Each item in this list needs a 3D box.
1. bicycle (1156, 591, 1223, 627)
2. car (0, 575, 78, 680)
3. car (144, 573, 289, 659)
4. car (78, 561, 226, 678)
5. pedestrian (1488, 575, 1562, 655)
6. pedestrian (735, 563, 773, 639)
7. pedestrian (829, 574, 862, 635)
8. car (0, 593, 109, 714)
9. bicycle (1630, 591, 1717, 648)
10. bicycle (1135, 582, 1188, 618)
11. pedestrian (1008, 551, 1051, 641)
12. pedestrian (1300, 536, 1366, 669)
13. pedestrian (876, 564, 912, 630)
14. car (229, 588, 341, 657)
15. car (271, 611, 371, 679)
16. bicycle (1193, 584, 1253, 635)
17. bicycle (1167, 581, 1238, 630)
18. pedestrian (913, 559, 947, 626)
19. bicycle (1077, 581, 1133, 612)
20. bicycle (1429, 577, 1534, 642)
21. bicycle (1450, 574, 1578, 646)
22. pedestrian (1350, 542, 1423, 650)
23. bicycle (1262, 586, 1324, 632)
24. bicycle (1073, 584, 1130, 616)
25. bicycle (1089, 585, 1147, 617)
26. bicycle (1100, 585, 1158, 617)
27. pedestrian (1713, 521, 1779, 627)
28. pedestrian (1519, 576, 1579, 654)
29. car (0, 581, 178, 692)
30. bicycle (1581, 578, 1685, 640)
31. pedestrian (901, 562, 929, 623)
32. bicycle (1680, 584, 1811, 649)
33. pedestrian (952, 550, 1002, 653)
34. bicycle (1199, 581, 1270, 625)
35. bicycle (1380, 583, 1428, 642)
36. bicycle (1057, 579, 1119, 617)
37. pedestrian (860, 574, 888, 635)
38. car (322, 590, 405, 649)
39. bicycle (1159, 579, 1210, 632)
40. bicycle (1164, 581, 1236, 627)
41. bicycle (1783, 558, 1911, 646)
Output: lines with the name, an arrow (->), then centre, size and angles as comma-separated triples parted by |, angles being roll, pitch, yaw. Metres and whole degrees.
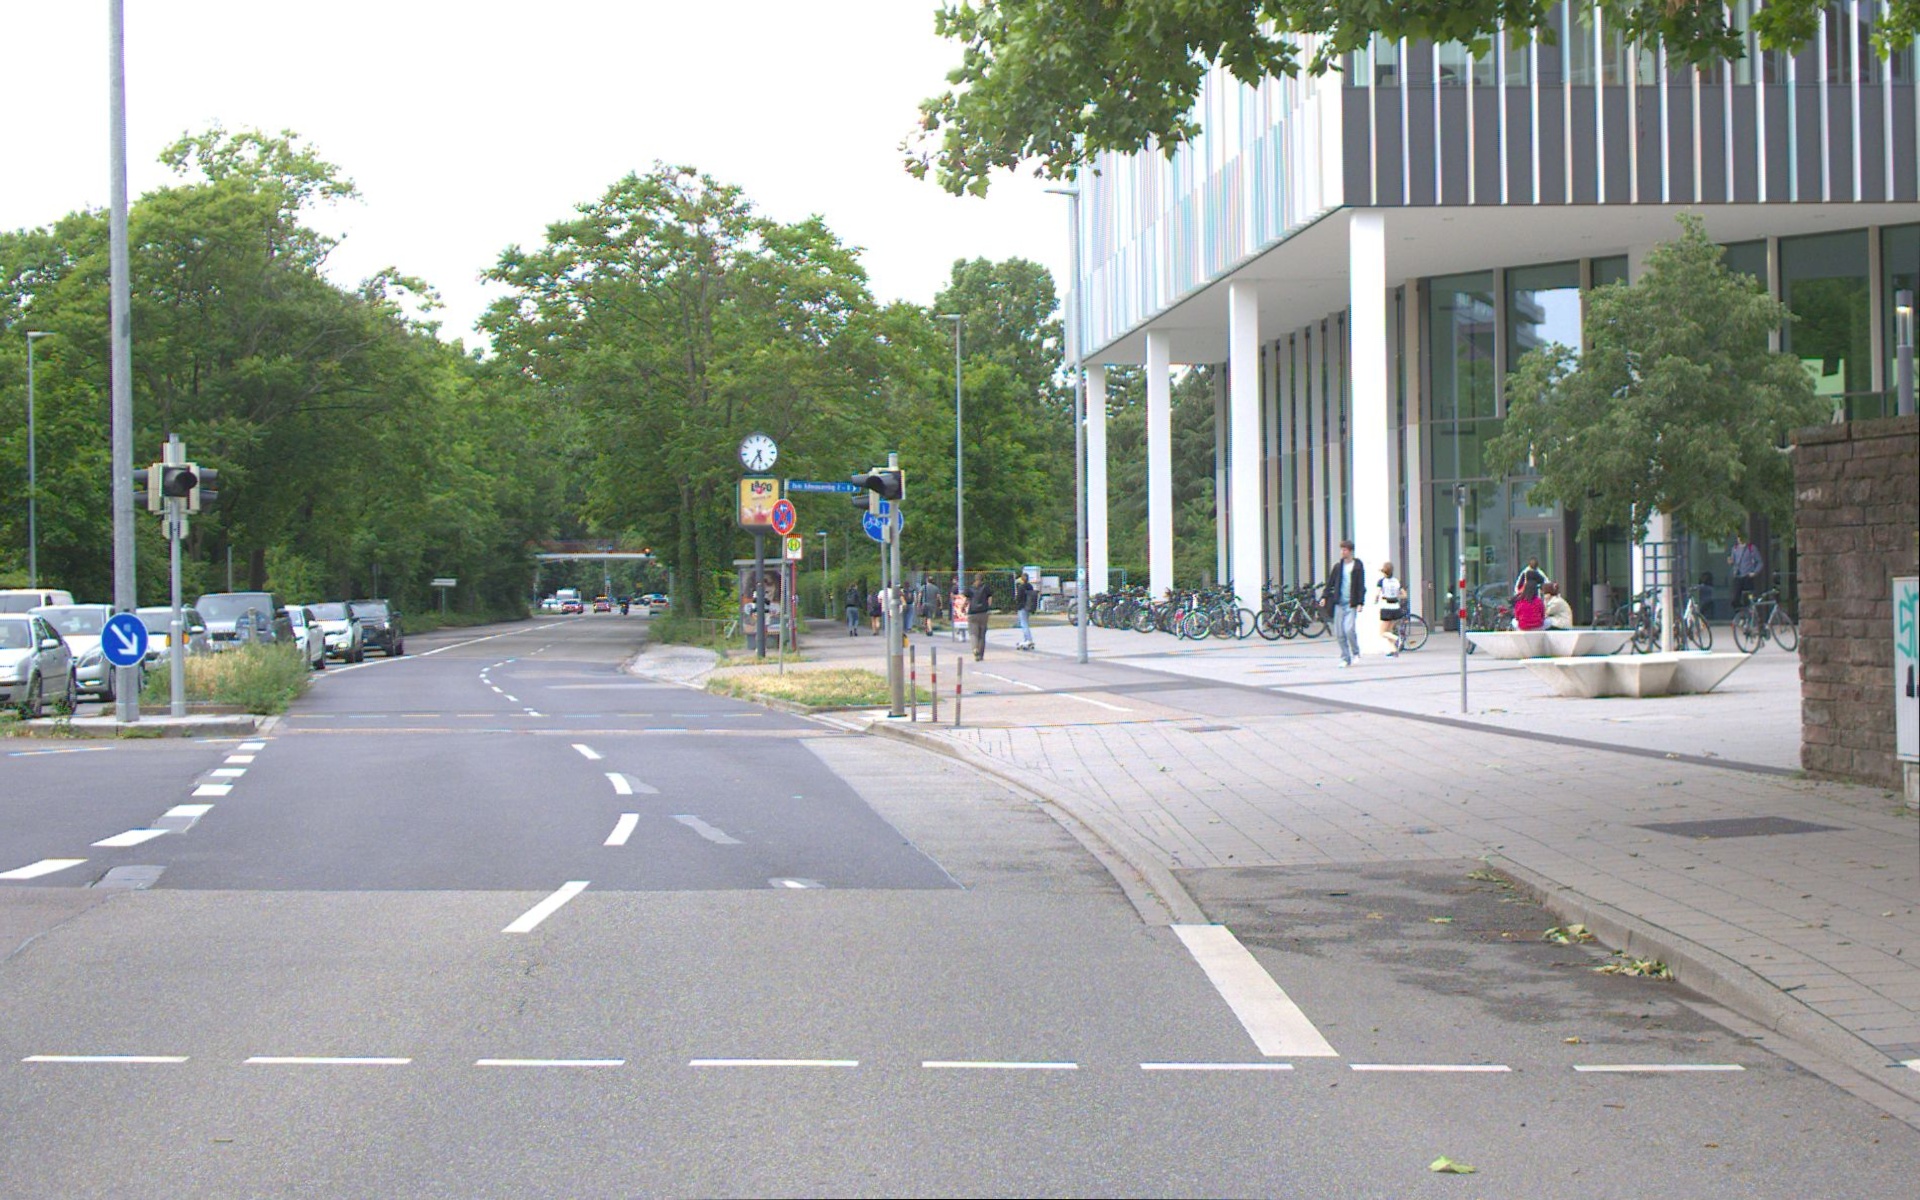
bicycle -> 5.715, 0.226, 85.676 | 1.606, 0.872, 0.556 | -1, 0, -4
car -> -17.482, 0.465, 62.806 | 1.771, 1.841, 4.489 | 1, 0, -3
car -> -15.123, 0.298, 70.190 | 1.993, 1.681, 4.948 | 0, 0, -1
car -> -14.682, 0.335, 62.652 | 1.993, 2.007, 4.001 | -1, 0, -4
pedestrian -> 8.712, 0.234, 53.035 | 0.844, 1.202, 0.893 | -1, 0, 30
pedestrian -> -5.607, 0.021, 93.671 | 0.912, 2.006, 0.854 | -3, 2, -5
pedestrian -> -3.798, 0.154, 114.172 | 0.925, 2.007, 1.040 | -1, 0, -9
car -> -12.974, 0.694, 45.923 | 1.993, 1.524, 4.273 | -1, 0, 2
bicycle -> 11.924, 0.328, 57.424 | 0.671, 0.896, 1.842 | -1, 1, 37
bicycle -> 5.223, 0.002, 88.946 | 1.283, 0.872, 0.556 | -2, 0, -4
pedestrian -> 1.574, -0.090, 78.034 | 0.842, 2.007, 0.894 | -1, 0, -7
pedestrian -> 5.711, 0.030, 52.720 | 0.842, 2.007, 0.894 | -1, 0, -3
pedestrian -> -2.023, -0.096, 105.449 | 0.925, 2.007, 1.040 | -1, 0, -9
car -> -15.153, 0.491, 77.402 | 1.903, 1.460, 4.911 | 1, 0, -4
car -> -16.076, 1.113, 86.633 | 1.993, 1.541, 4.180 | -2, 0, -4
bicycle -> 5.775, 0.210, 75.618 | 0.607, 1.076, 1.963 | -3, 1, -16
bicycle -> 5.940, 0.127, 84.184 | 1.644, 1.087, 0.572 | -4, 0, 4
pedestrian -> -0.919, -0.229, 105.343 | 0.925, 2.007, 1.040 | -1, 0, -5
bicycle -> 4.392, -0.107, 104.400 | 1.606, 0.872, 0.556 | -1, 0, -8
bicycle -> 9.320, 0.166, 61.407 | 0.736, 1.112, 2.178 | -1, 1, 43
bicycle -> 9.694, 0.171, 60.028 | 0.774, 1.184, 2.713 | -1, 1, 44
pedestrian -> 7.389, -0.071, 59.562 | 0.842, 1.829, 0.894 | -1, 0, -34
bicycle -> 7.145, 0.190, 73.791 | 1.484, 0.926, 0.440 | -3, 2, -43
bicycle -> 4.223, -0.001, 102.497 | 1.606, 0.872, 0.556 | -2, 0, -4
bicycle -> 4.642, 0.034, 100.992 | 1.606, 0.872, 0.556 | -2, 0, -4
bicycle -> 4.912, 0.029, 99.818 | 1.606, 0.872, 0.556 | -2, 0, -4
pedestrian -> 15.508, -0.515, 67.812 | 1.182, 2.055, 1.134 | 1, 0, 16
pedestrian -> 9.184, 0.225, 53.650 | 0.892, 1.189, 0.845 | -1, 0, 10
car -> -13.868, 0.545, 54.639 | 1.957, 1.578, 4.256 | -2, 1, -2
bicycle -> 11.395, 0.145, 58.199 | 0.774, 0.998, 1.955 | -1, 1, 44
pedestrian -> -1.497, -0.262, 114.780 | 0.824, 2.007, 0.720 | -2, 0, -5
bicycle -> 12.777, 0.266, 55.883 | 2.185, 1.002, 0.782 | -1, 0, -34
pedestrian -> 0.342, 0.027, 68.208 | 0.842, 2.007, 0.894 | -3, 0, -3
bicycle -> 6.481, 0.072, 81.146 | 1.606, 0.932, 0.568 | -3, 1, 6
bicycle -> 8.197, 0.220, 63.483 | 0.638, 1.058, 1.840 | 1, 0, 0
bicycle -> 3.924, -0.065, 105.514 | 1.794, 1.078, 0.626 | -3, 1, -6
pedestrian -> -2.864, 0.135, 114.296 | 0.823, 2.007, 0.720 | -1, 0, -9
car -> -17.036, 0.534, 98.350 | 1.902, 1.588, 4.517 | -1, 0, -4
bicycle -> 5.108, 0.126, 78.374 | 0.635, 1.136, 2.201 | -4, 0, -9
bicycle -> 5.774, 0.093, 82.585 | 1.606, 0.979, 0.556 | -4, 0, -4
bicycle -> 14.128, 0.028, 54.772 | 2.001, 1.301, 0.646 | -3, 2, -26
